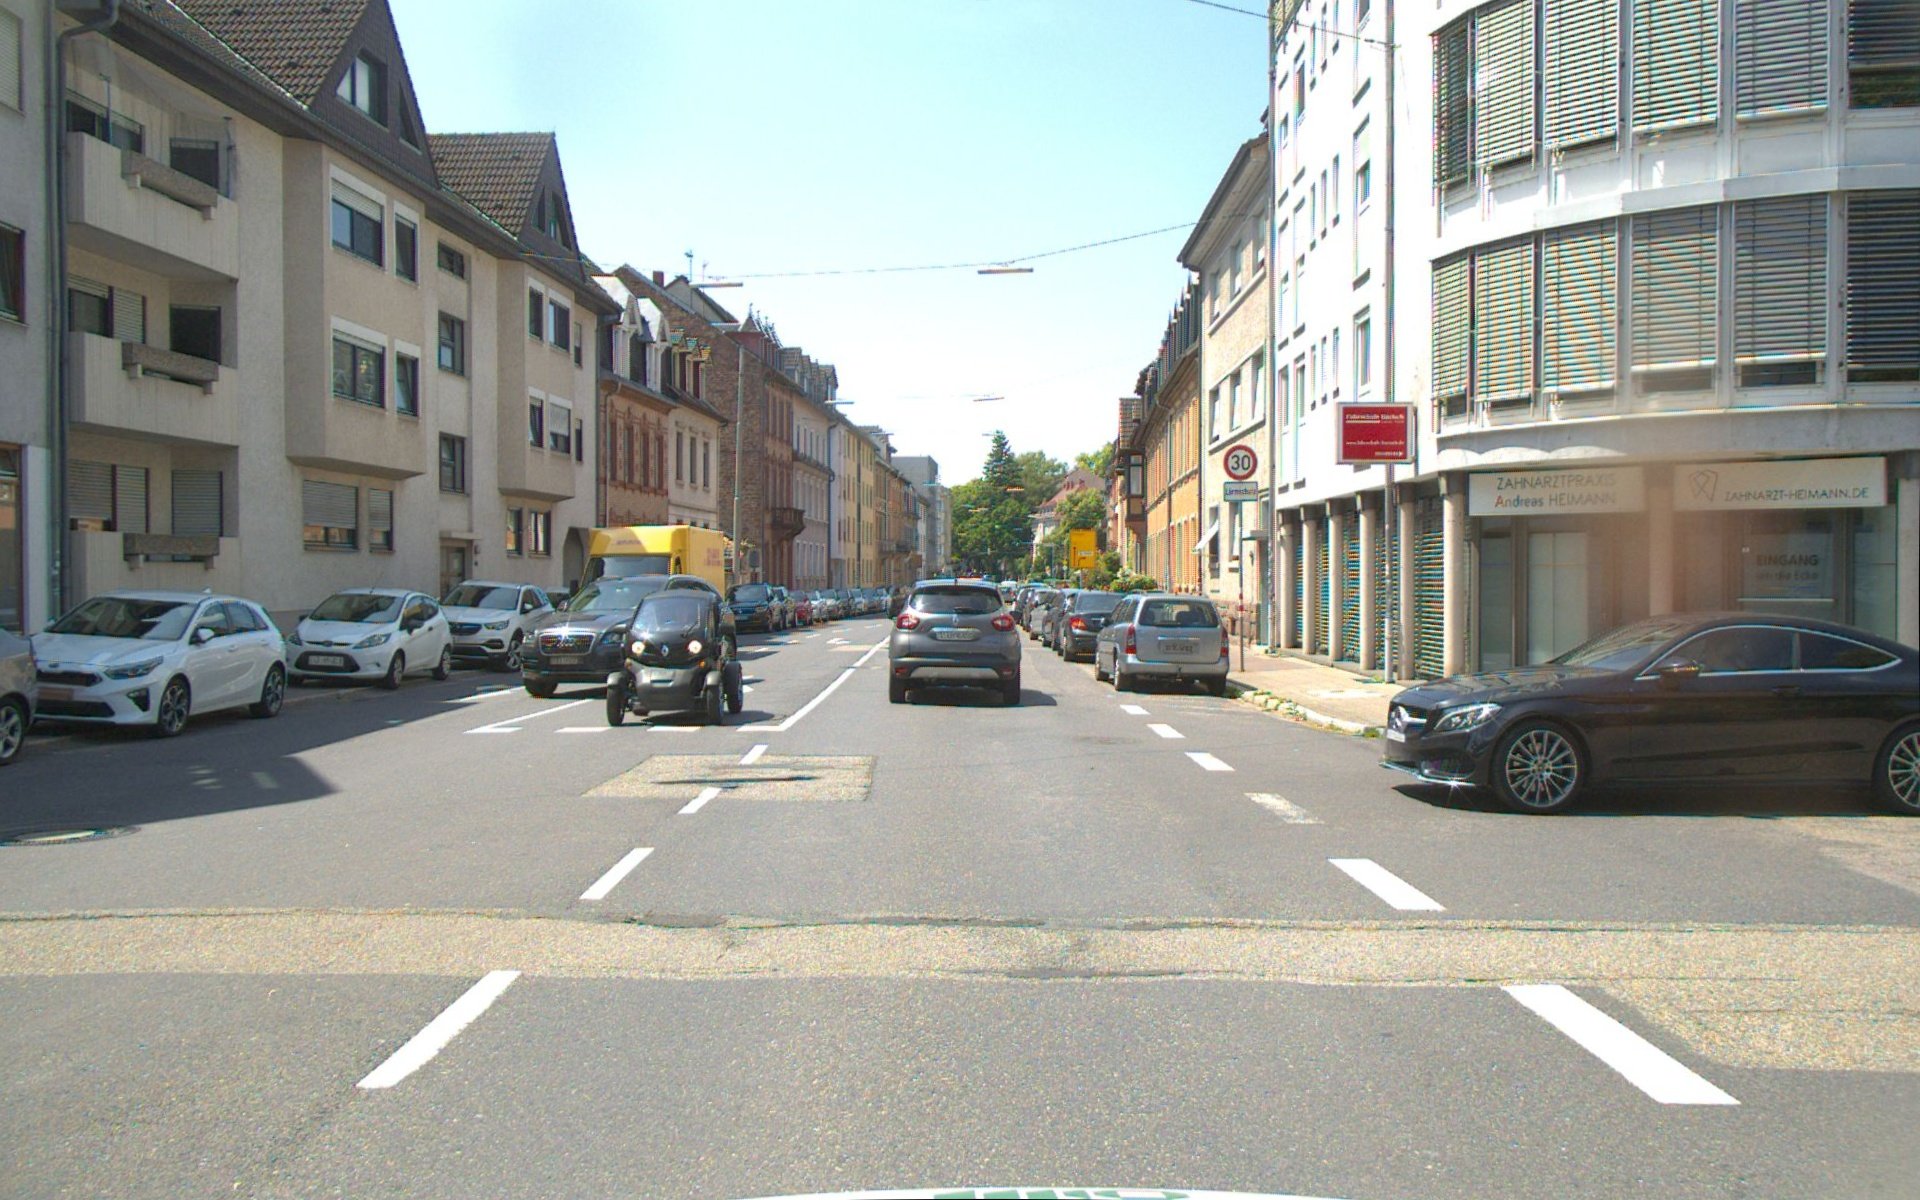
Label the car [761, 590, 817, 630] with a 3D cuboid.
[{"bbox_3d":[-6.797,0.366,66.200,1.802,1.447,4.501,-3,0,-1],"label":"car"}]

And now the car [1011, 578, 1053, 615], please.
[{"bbox_3d":[3.452,-0.168,79.829,1.952,1.691,4.627,0,0,2],"label":"car"}]

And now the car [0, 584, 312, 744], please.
[{"bbox_3d":[-9.041,0.625,18.600,1.802,1.515,4.385,2,0,-1],"label":"car"}]

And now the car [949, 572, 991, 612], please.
[{"bbox_3d":[0.556,-0.441,87.282,1.952,2.049,4.468,-1,1,3],"label":"car"}]

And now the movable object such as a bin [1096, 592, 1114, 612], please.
[{"bbox_3d":[6.983,0.104,79.645,0.772,0.923,0.539,0,0,-1],"label":"movable object such as a bin"}]

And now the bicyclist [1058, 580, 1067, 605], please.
[{"bbox_3d":[6.138,-0.448,98.870,0.521,1.495,0.791,0,0,3],"label":"bicyclist"}]

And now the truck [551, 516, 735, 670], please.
[{"bbox_3d":[-6.435,-0.160,34.650,2.179,2.819,7.565,-2,0,1],"label":"truck"}]

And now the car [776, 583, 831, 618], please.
[{"bbox_3d":[-6.852,0.018,72.753,1.802,1.447,4.503,-2,0,1],"label":"car"}]

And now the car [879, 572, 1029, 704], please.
[{"bbox_3d":[-0.169,0.455,22.726,1.710,1.644,3.996,1,1,-5],"label":"car"}]

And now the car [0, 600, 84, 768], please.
[{"bbox_3d":[-9.123,0.704,13.306,1.802,1.408,4.327,2,0,0],"label":"car"}]

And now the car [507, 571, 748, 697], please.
[{"bbox_3d":[-4.716,0.446,24.159,1.773,1.649,4.445,-1,0,12],"label":"car"}]

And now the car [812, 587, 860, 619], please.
[{"bbox_3d":[-6.298,0.143,84.479,1.801,1.447,4.504,-4,0,3],"label":"car"}]

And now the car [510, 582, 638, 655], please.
[{"bbox_3d":[-8.791,0.391,38.036,1.802,1.514,4.387,2,0,1],"label":"car"}]

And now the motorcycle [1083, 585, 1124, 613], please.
[{"bbox_3d":[7.682,-0.057,88.781,2.085,1.433,0.938,-2,0,2],"label":"motorcycle"}]

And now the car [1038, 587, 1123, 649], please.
[{"bbox_3d":[2.920,0.405,40.741,1.618,1.445,4.046,0,0,-2],"label":"car"}]

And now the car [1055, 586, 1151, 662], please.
[{"bbox_3d":[2.961,0.456,34.971,1.676,1.499,4.438,0,0,1],"label":"car"}]

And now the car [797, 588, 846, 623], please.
[{"bbox_3d":[-6.542,0.245,78.613,1.802,1.447,4.502,-4,0,1],"label":"car"}]

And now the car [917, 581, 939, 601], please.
[{"bbox_3d":[-2.858,-0.778,146.518,1.866,1.648,4.301,-2,0,-1],"label":"car"}]

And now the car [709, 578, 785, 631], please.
[{"bbox_3d":[-7.114,0.144,55.667,1.802,1.624,4.503,-2,0,1],"label":"car"}]

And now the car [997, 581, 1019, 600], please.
[{"bbox_3d":[4.020,-0.778,138.437,1.726,1.587,3.944,0,0,4],"label":"car"}]

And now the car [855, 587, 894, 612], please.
[{"bbox_3d":[-5.225,-0.030,101.430,1.801,1.447,4.560,-3,0,3],"label":"car"}]

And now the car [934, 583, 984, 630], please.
[{"bbox_3d":[-0.008,0.220,62.481,1.775,1.649,4.442,-1,0,1],"label":"car"}]

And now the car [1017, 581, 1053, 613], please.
[{"bbox_3d":[4.367,-0.216,96.994,1.822,1.778,4.618,2,1,0],"label":"car"}]

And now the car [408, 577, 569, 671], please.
[{"bbox_3d":[-8.976,0.424,31.861,1.802,1.623,4.386,2,0,-1],"label":"car"}]

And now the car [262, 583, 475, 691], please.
[{"bbox_3d":[-9.299,0.534,26.394,1.802,1.515,4.386,2,0,-1],"label":"car"}]

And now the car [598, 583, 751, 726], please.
[{"bbox_3d":[-3.131,0.551,18.525,1.468,1.484,2.720,0,0,-5],"label":"car"}]

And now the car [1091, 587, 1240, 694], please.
[{"bbox_3d":[3.105,0.565,25.783,1.644,1.480,4.141,2,0,-2],"label":"car"}]

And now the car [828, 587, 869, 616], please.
[{"bbox_3d":[-6.020,0.078,89.731,1.802,1.447,4.502,-2,0,0],"label":"car"}]

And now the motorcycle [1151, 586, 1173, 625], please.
[{"bbox_3d":[6.466,0.175,52.978,0.583,1.246,1.361,0,0,1],"label":"motorcycle"}]

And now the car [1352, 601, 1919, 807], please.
[{"bbox_3d":[5.473,0.734,12.563,4.489,1.389,1.999,1,0,-3],"label":"car"}]

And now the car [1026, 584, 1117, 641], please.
[{"bbox_3d":[3.033,0.328,45.919,1.818,1.489,4.545,1,0,-6],"label":"car"}]

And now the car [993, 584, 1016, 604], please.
[{"bbox_3d":[3.552,-0.462,131.341,1.726,1.587,3.944,0,0,4],"label":"car"}]

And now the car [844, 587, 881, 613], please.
[{"bbox_3d":[-5.606,0.000,95.656,1.802,1.447,4.646,-2,0,0],"label":"car"}]
